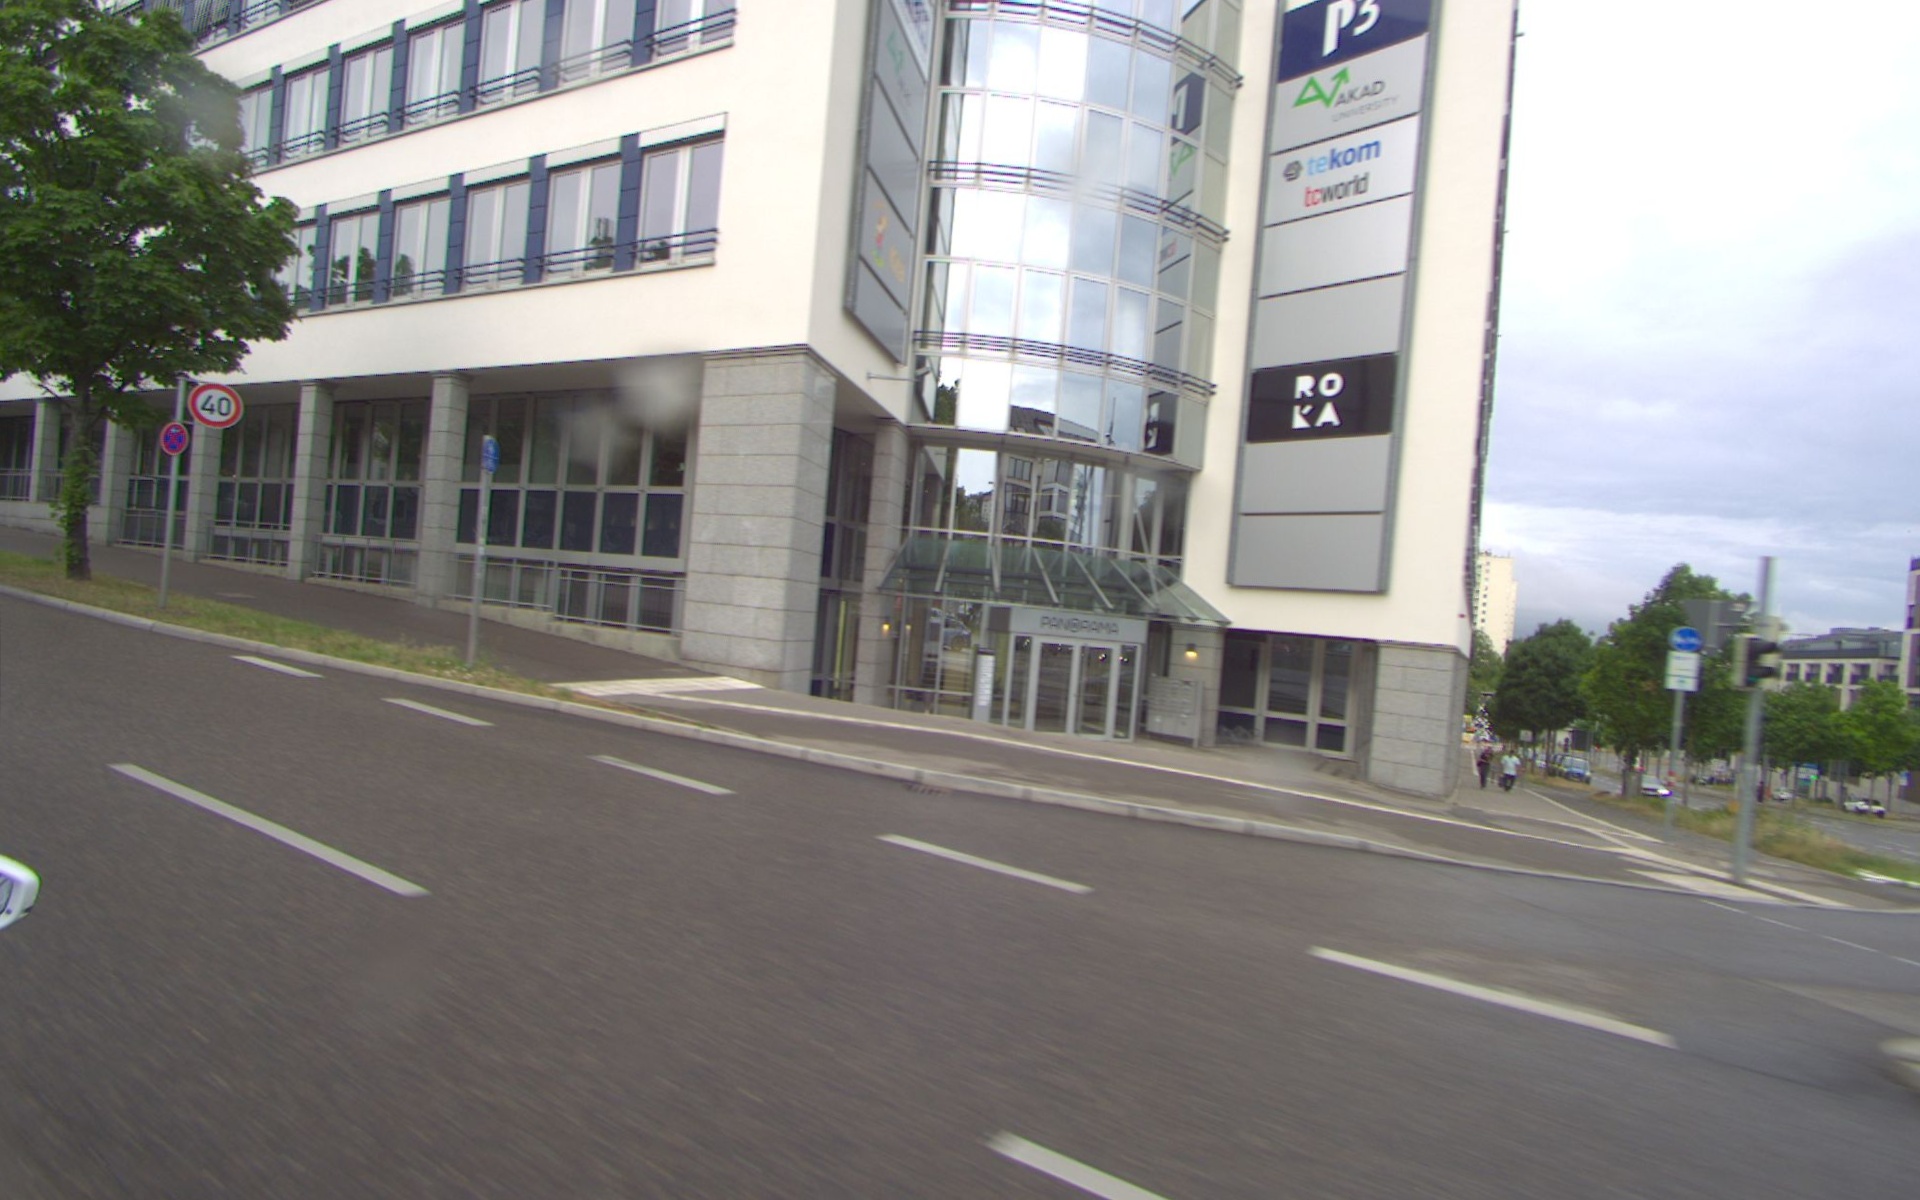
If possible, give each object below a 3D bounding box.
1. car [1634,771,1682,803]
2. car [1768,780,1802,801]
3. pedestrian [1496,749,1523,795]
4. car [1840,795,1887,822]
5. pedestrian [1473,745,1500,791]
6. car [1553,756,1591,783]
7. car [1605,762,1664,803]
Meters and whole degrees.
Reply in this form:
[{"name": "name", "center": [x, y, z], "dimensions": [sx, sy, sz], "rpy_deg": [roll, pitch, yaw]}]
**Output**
[{"name": "car", "center": [43.025, 11.507, 62.078], "dimensions": [1.769, 1.526, 4.003], "rpy_deg": [6, -5, 28]}, {"name": "car", "center": [86.590, 20.013, 105.654], "dimensions": [1.769, 1.527, 4.498], "rpy_deg": [6, -2, 28]}, {"name": "pedestrian", "center": [21.484, 6.719, 39.333], "dimensions": [0.723, 1.672, 0.560], "rpy_deg": [6, -1, 34]}, {"name": "car", "center": [76.944, 17.731, 85.766], "dimensions": [1.769, 1.527, 4.498], "rpy_deg": [6, -2, 28]}, {"name": "pedestrian", "center": [20.804, 6.644, 39.741], "dimensions": [0.723, 1.672, 0.560], "rpy_deg": [6, -1, 34]}, {"name": "car", "center": [42.198, 11.691, 69.474], "dimensions": [1.769, 1.526, 4.503], "rpy_deg": [6, -5, 28]}, {"name": "car", "center": [32.891, 8.886, 49.178], "dimensions": [1.769, 1.526, 4.502], "rpy_deg": [6, -4, 28]}]
